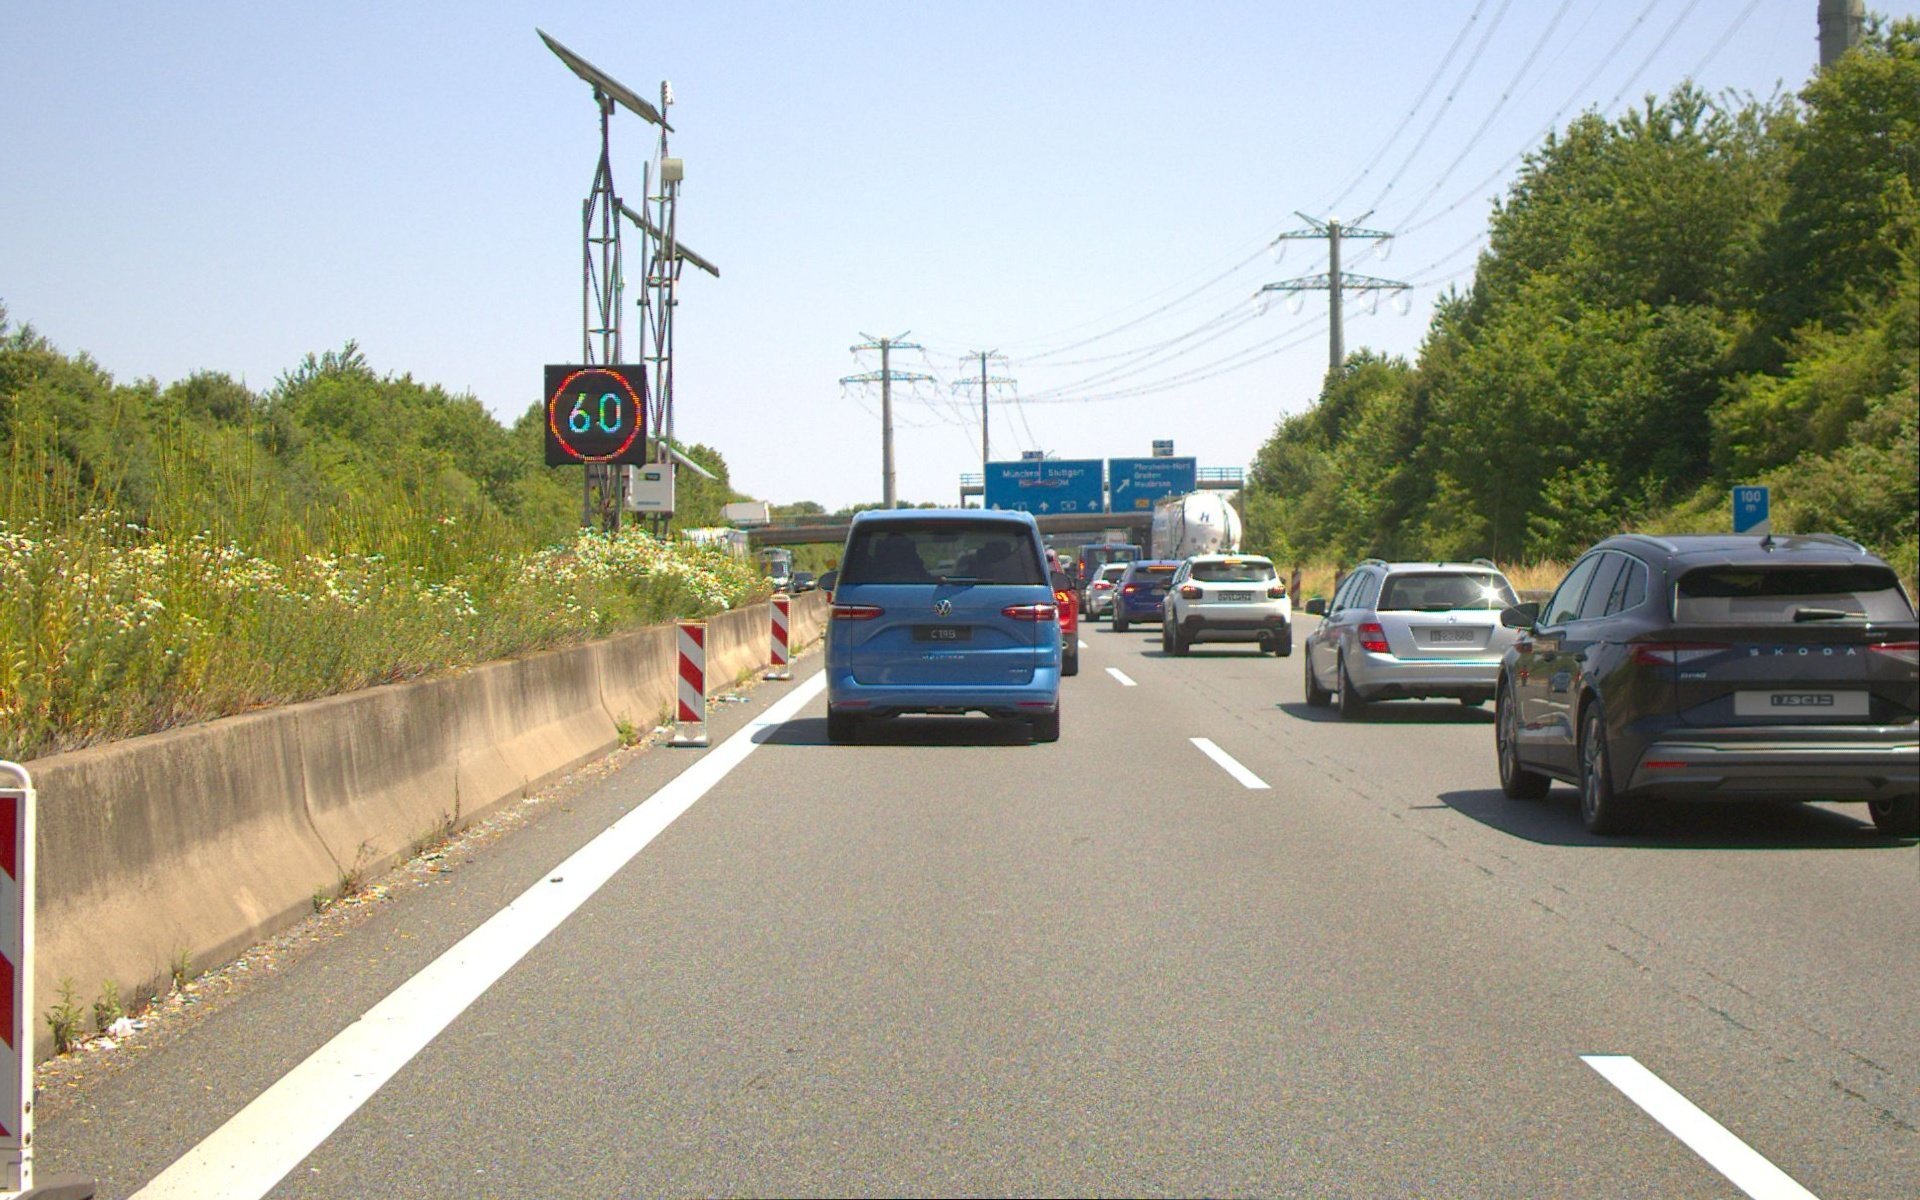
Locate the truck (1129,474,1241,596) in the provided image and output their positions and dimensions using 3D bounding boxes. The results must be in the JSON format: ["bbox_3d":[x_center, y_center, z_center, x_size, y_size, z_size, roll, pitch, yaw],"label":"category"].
[{"bbox_3d":[7.918,-2.280,123.131,2.644,4.058,16.442,1,1,-1],"label":"truck"}]

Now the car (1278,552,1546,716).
[{"bbox_3d":[4.204,0.268,32.625,1.821,1.432,4.384,1,1,-2],"label":"car"}]

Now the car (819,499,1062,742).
[{"bbox_3d":[-0.229,0.128,29.017,1.871,1.872,4.384,1,1,-2],"label":"car"}]

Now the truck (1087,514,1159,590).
[{"bbox_3d":[7.860,-2.337,166.884,2.644,3.526,12.552,1,1,-1],"label":"truck"}]

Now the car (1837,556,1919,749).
[{"bbox_3d":[7.710,0.388,24.403,1.734,1.373,4.303,1,1,-2],"label":"car"}]

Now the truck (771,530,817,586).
[{"bbox_3d":[-11.962,-3.064,248.333,2.762,3.875,9.030,-2,1,0],"label":"truck"}]

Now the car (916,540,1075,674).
[{"bbox_3d":[0.406,0.053,43.941,1.908,1.625,4.384,0,1,-1],"label":"car"}]

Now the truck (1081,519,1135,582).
[{"bbox_3d":[10.332,-3.490,241.063,2.938,4.276,12.552,1,1,-1],"label":"truck"}]

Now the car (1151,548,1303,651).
[{"bbox_3d":[4.078,-0.034,53.020,1.908,1.503,3.922,1,1,-2],"label":"car"}]

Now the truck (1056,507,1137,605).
[{"bbox_3d":[3.885,-1.271,98.773,1.993,2.714,5.680,1,1,-1],"label":"truck"}]

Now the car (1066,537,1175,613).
[{"bbox_3d":[3.285,-0.535,71.045,1.908,1.511,4.384,1,1,-2],"label":"car"}]

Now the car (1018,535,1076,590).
[{"bbox_3d":[3.227,-1.396,128.364,1.993,2.007,4.000,1,1,-1],"label":"car"}]

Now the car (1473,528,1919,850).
[{"bbox_3d":[4.173,0.405,19.423,1.828,1.609,4.431,0,1,-1],"label":"car"}]

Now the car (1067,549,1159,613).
[{"bbox_3d":[3.703,-0.480,84.116,1.908,1.511,4.384,1,1,-2],"label":"car"}]
